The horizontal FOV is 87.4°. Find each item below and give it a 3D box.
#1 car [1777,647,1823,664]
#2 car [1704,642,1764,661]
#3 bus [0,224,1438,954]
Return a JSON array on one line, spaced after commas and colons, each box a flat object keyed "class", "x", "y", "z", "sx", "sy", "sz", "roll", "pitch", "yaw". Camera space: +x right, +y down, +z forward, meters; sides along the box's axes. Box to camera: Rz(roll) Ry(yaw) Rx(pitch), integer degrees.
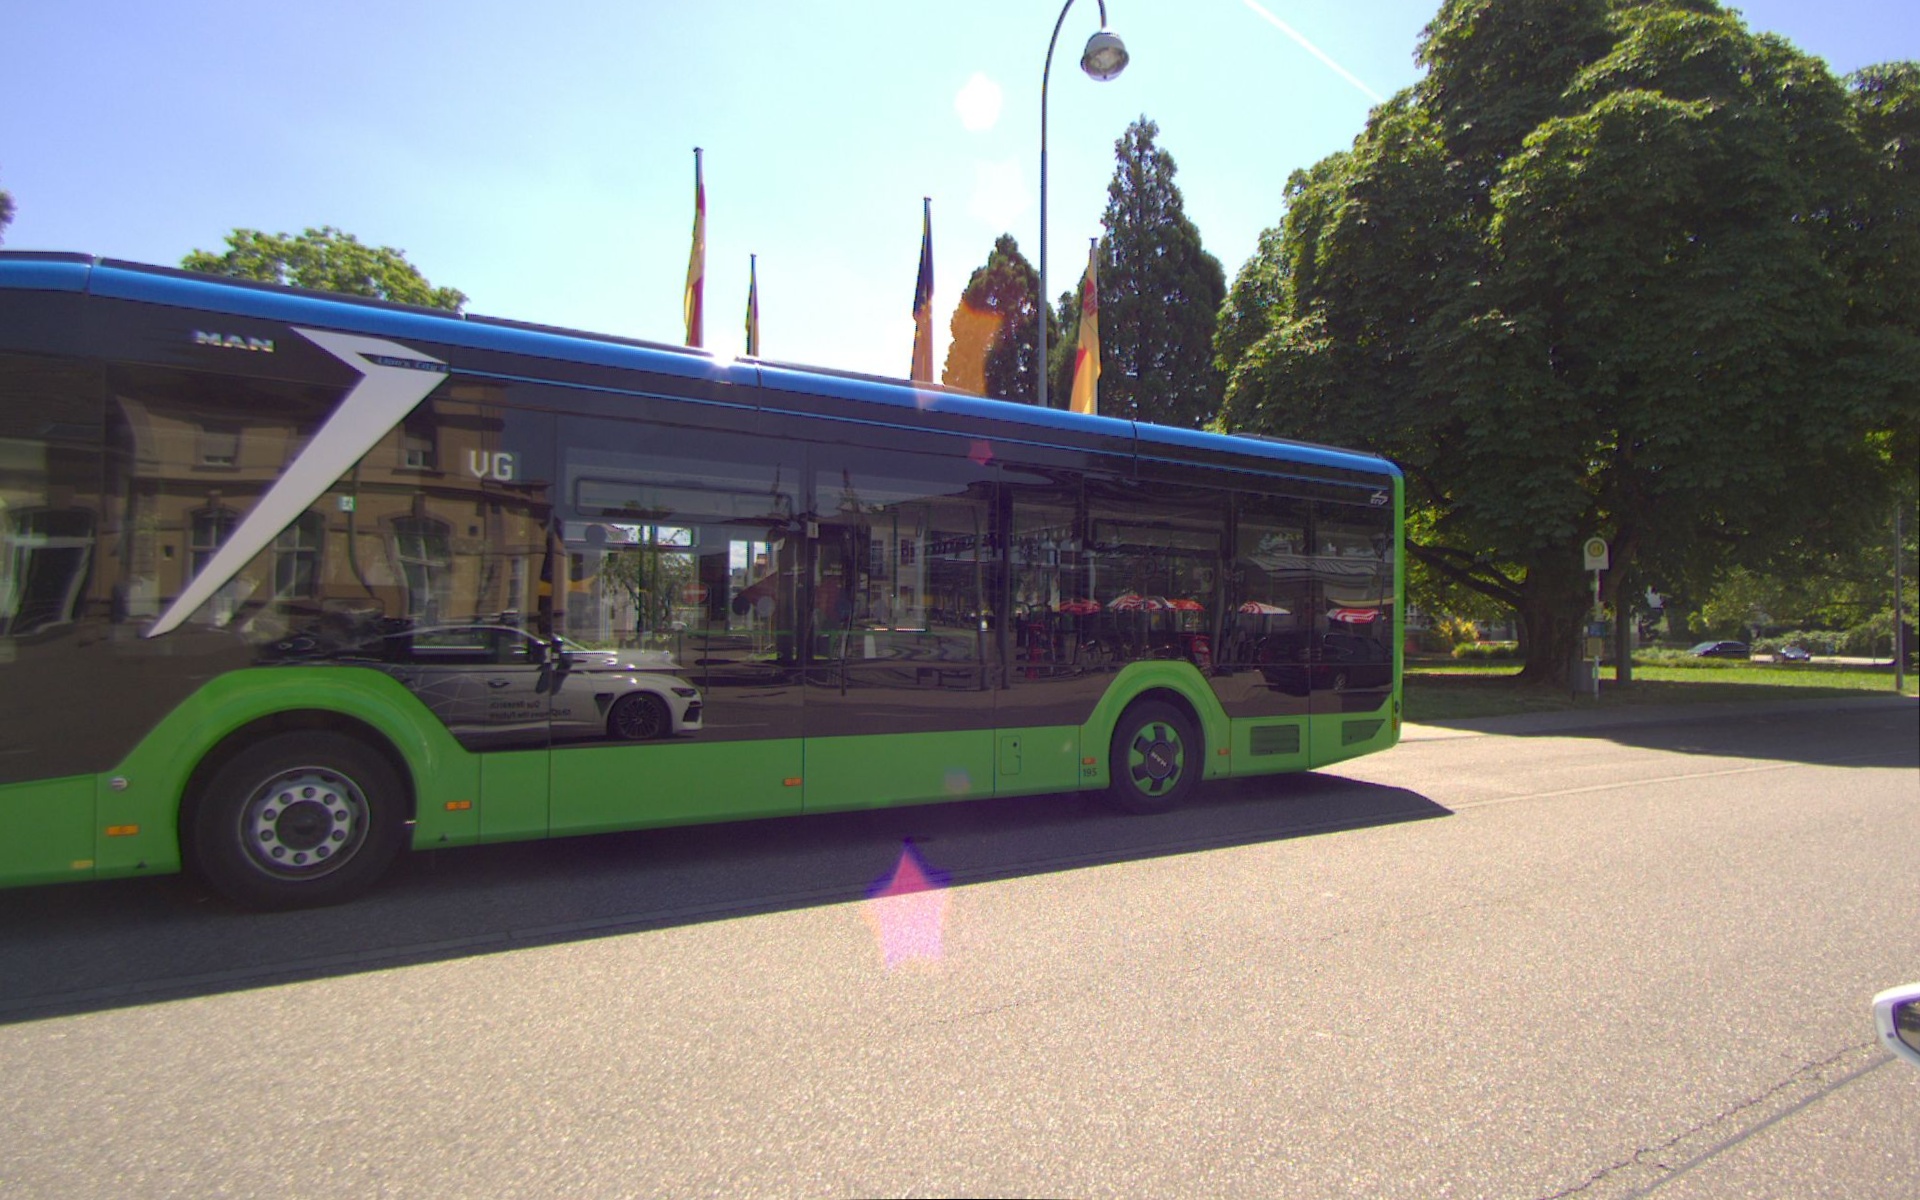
[{"class": "car", "x": 67.918, "y": 4.467, "z": 81.173, "sx": 3.946, "sy": 1.328, "sz": 1.806, "roll": 2, "pitch": -2, "yaw": -33}, {"class": "car", "x": 57.626, "y": 3.838, "z": 74.824, "sx": 3.737, "sy": 1.429, "sz": 1.551, "roll": 1, "pitch": -2, "yaw": -14}, {"class": "bus", "x": -1.189, "y": 0.065, "z": 8.103, "sx": 12.280, "sy": 3.326, "sz": 2.795, "roll": 1, "pitch": -2, "yaw": -31}]
